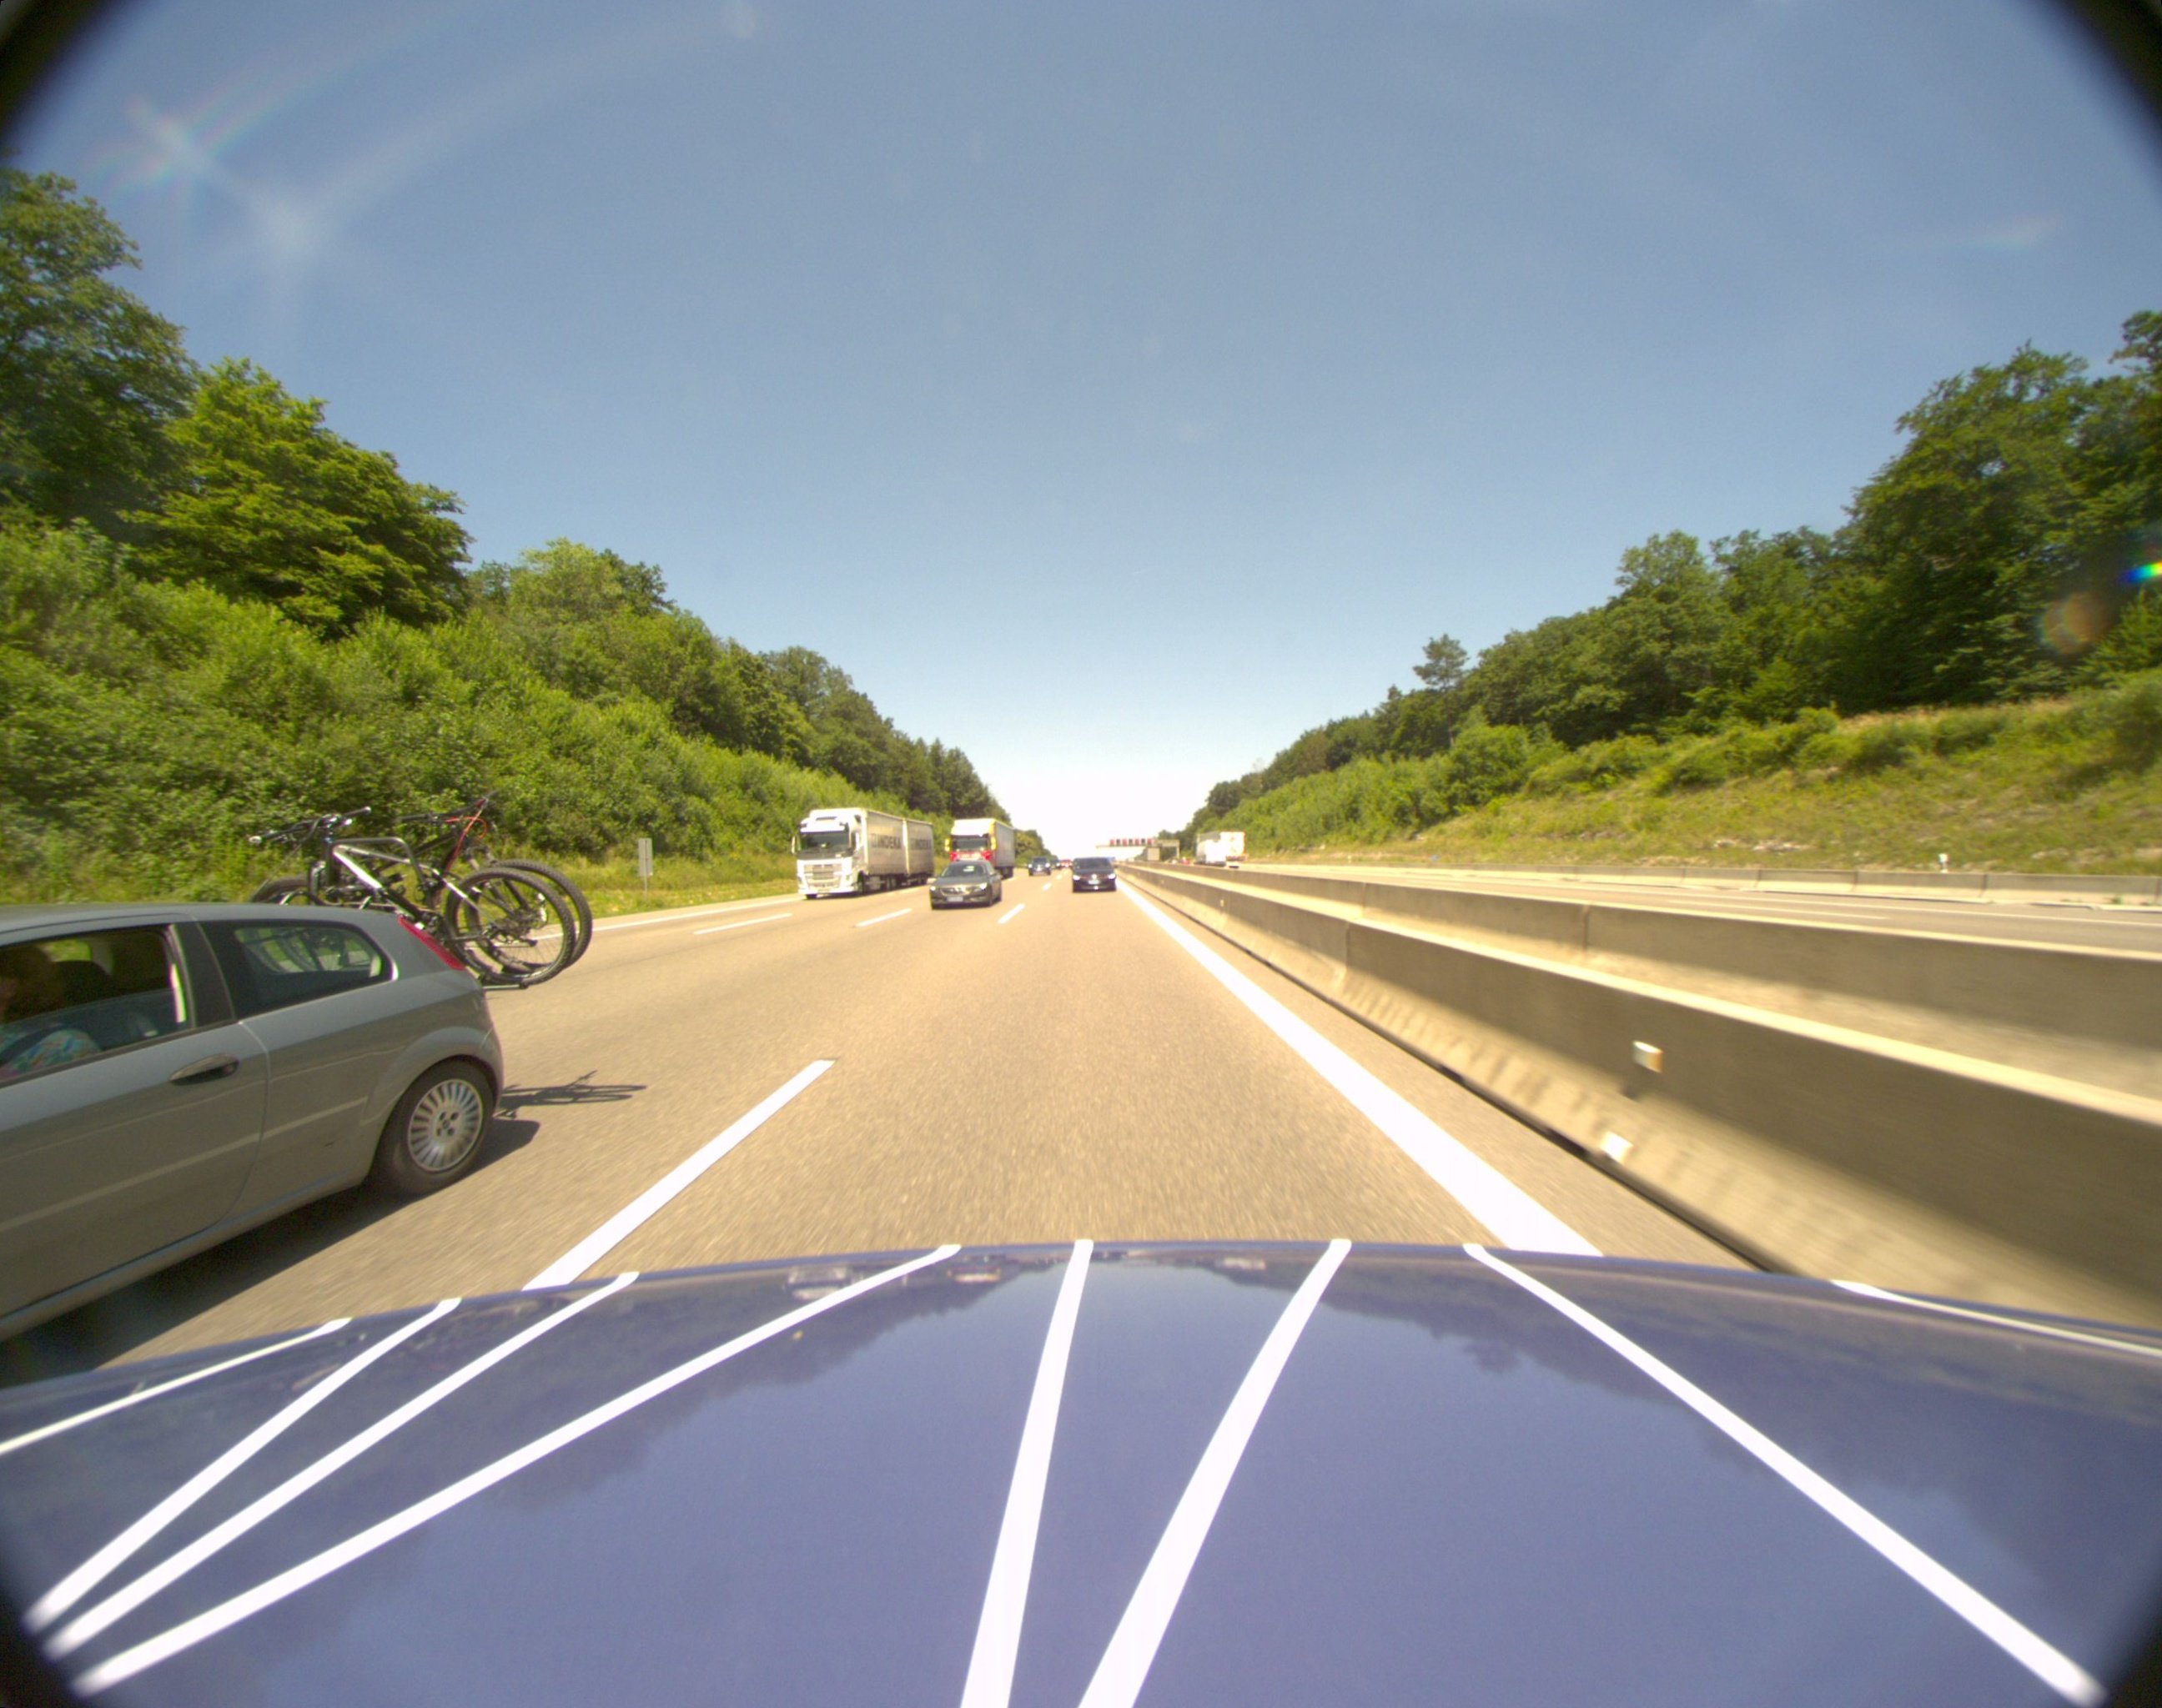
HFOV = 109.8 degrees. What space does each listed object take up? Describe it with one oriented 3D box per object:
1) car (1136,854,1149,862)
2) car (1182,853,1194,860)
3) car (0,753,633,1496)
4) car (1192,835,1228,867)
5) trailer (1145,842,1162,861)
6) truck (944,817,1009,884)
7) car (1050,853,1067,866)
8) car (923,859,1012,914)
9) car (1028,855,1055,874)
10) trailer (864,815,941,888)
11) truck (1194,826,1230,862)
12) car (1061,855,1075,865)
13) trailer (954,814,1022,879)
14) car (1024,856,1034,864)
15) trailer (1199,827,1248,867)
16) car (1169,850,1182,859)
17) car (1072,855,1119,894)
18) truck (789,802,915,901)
[{"bbox_3d":[12.619,0.758,156.776,2.033,1.497,5.440,-1,0,-1],"label":"car"},{"bbox_3d":[21.441,0.526,152.161,1.875,1.492,3.720,-1,0,0],"label":"car"},{"bbox_3d":[-3.977,0.782,2.560,1.966,2.041,4.784,-3,0,1],"label":"car"},{"bbox_3d":[11.898,-0.269,70.406,2.090,2.783,7.602,0,1,0],"label":"car"},{"bbox_3d":[16.936,-0.496,178.280,3.108,4.228,13.841,0,0,1],"label":"trailer"},{"bbox_3d":[-6.652,-0.197,49.545,3.018,3.957,7.540,-2,0,0],"label":"truck"},{"bbox_3d":[-2.796,0.705,95.906,1.910,1.504,4.160,-3,0,2],"label":"car"},{"bbox_3d":[-3.605,0.976,25.199,1.972,1.444,5.224,-3,0,1],"label":"car"},{"bbox_3d":[-3.351,0.856,65.044,1.910,1.504,4.160,-3,0,2],"label":"car"},{"bbox_3d":[-10.958,-0.144,47.612,2.585,4.046,8.383,-3,0,1],"label":"trailer"},{"bbox_3d":[15.562,-1.145,91.050,2.902,4.045,7.788,-1,1,0],"label":"truck"},{"bbox_3d":[-1.969,0.888,116.732,1.910,1.504,4.160,-3,0,2],"label":"car"},{"bbox_3d":[-6.533,-0.434,55.910,2.926,4.118,14.849,-1,0,1],"label":"trailer"},{"bbox_3d":[-10.832,1.273,159.254,1.910,1.503,4.159,-1,0,-1],"label":"car"},{"bbox_3d":[15.539,-0.734,84.162,2.933,4.060,13.838,-1,0,0],"label":"trailer"},{"bbox_3d":[16.157,0.125,130.074,1.671,1.399,4.440,-1,0,0],"label":"car"},{"bbox_3d":[0.596,0.810,31.797,1.778,1.425,4.143,-3,0,1],"label":"car"},{"bbox_3d":[-11.057,-0.118,38.192,2.729,4.136,10.969,-3,0,1],"label":"truck"}]
